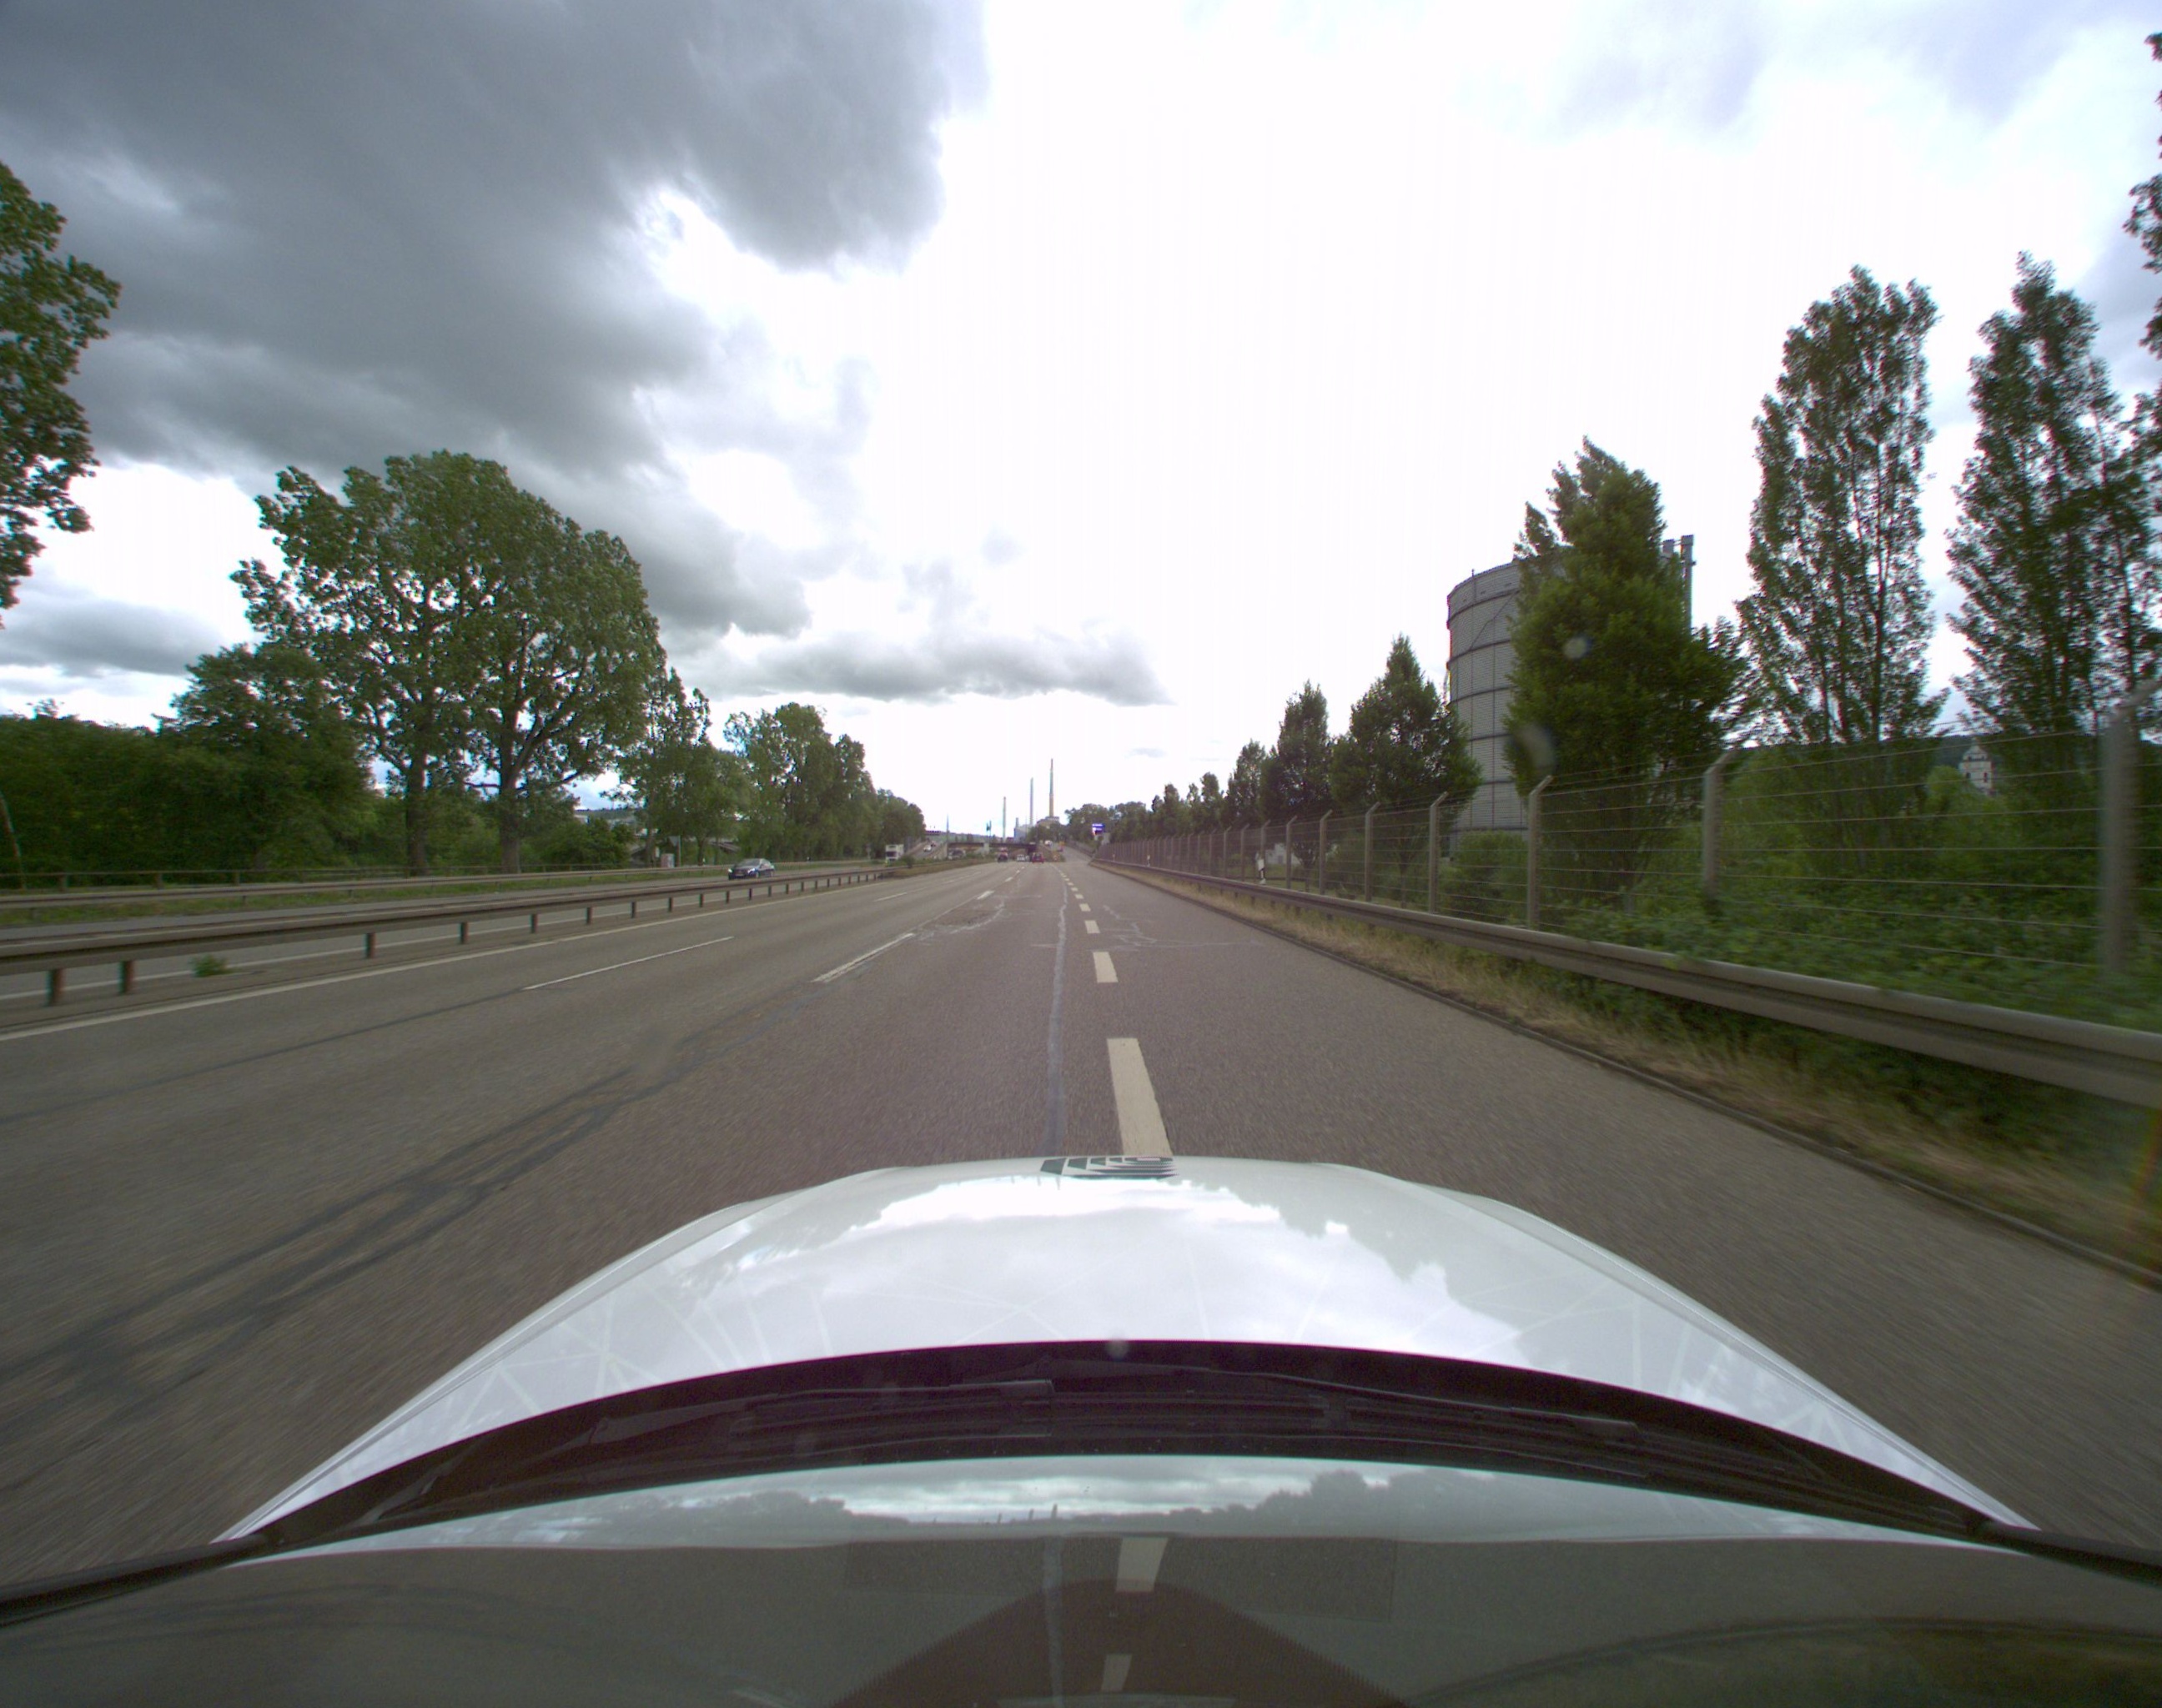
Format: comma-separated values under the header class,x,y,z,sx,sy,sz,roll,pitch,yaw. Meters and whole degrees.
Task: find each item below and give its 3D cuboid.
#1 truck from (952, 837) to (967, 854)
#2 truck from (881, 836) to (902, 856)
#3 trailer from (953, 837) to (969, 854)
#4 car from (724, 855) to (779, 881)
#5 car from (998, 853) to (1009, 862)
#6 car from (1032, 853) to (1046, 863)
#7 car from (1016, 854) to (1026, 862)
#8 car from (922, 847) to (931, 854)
class,x,y,z,sx,sy,sz,roll,pitch,yaw
truck,-34.445,-2.366,230.893,3.457,4.673,6.202,0,0,-4
truck,-35.104,-1.503,151.315,2.979,3.643,6.323,2,0,-6
trailer,-34.979,-2.363,238.812,3.457,4.673,14.761,0,0,-4
car,-21.770,0.870,53.986,1.990,1.609,4.643,0,0,-4
car,-14.715,0.662,154.333,1.989,1.684,3.996,1,1,-3
car,-6.121,0.540,119.708,1.989,1.420,3.997,1,1,-2
car,-12.695,0.811,171.866,1.989,1.684,3.996,1,1,-3
car,-42.180,-0.952,222.757,1.991,1.644,4.594,2,0,-6
